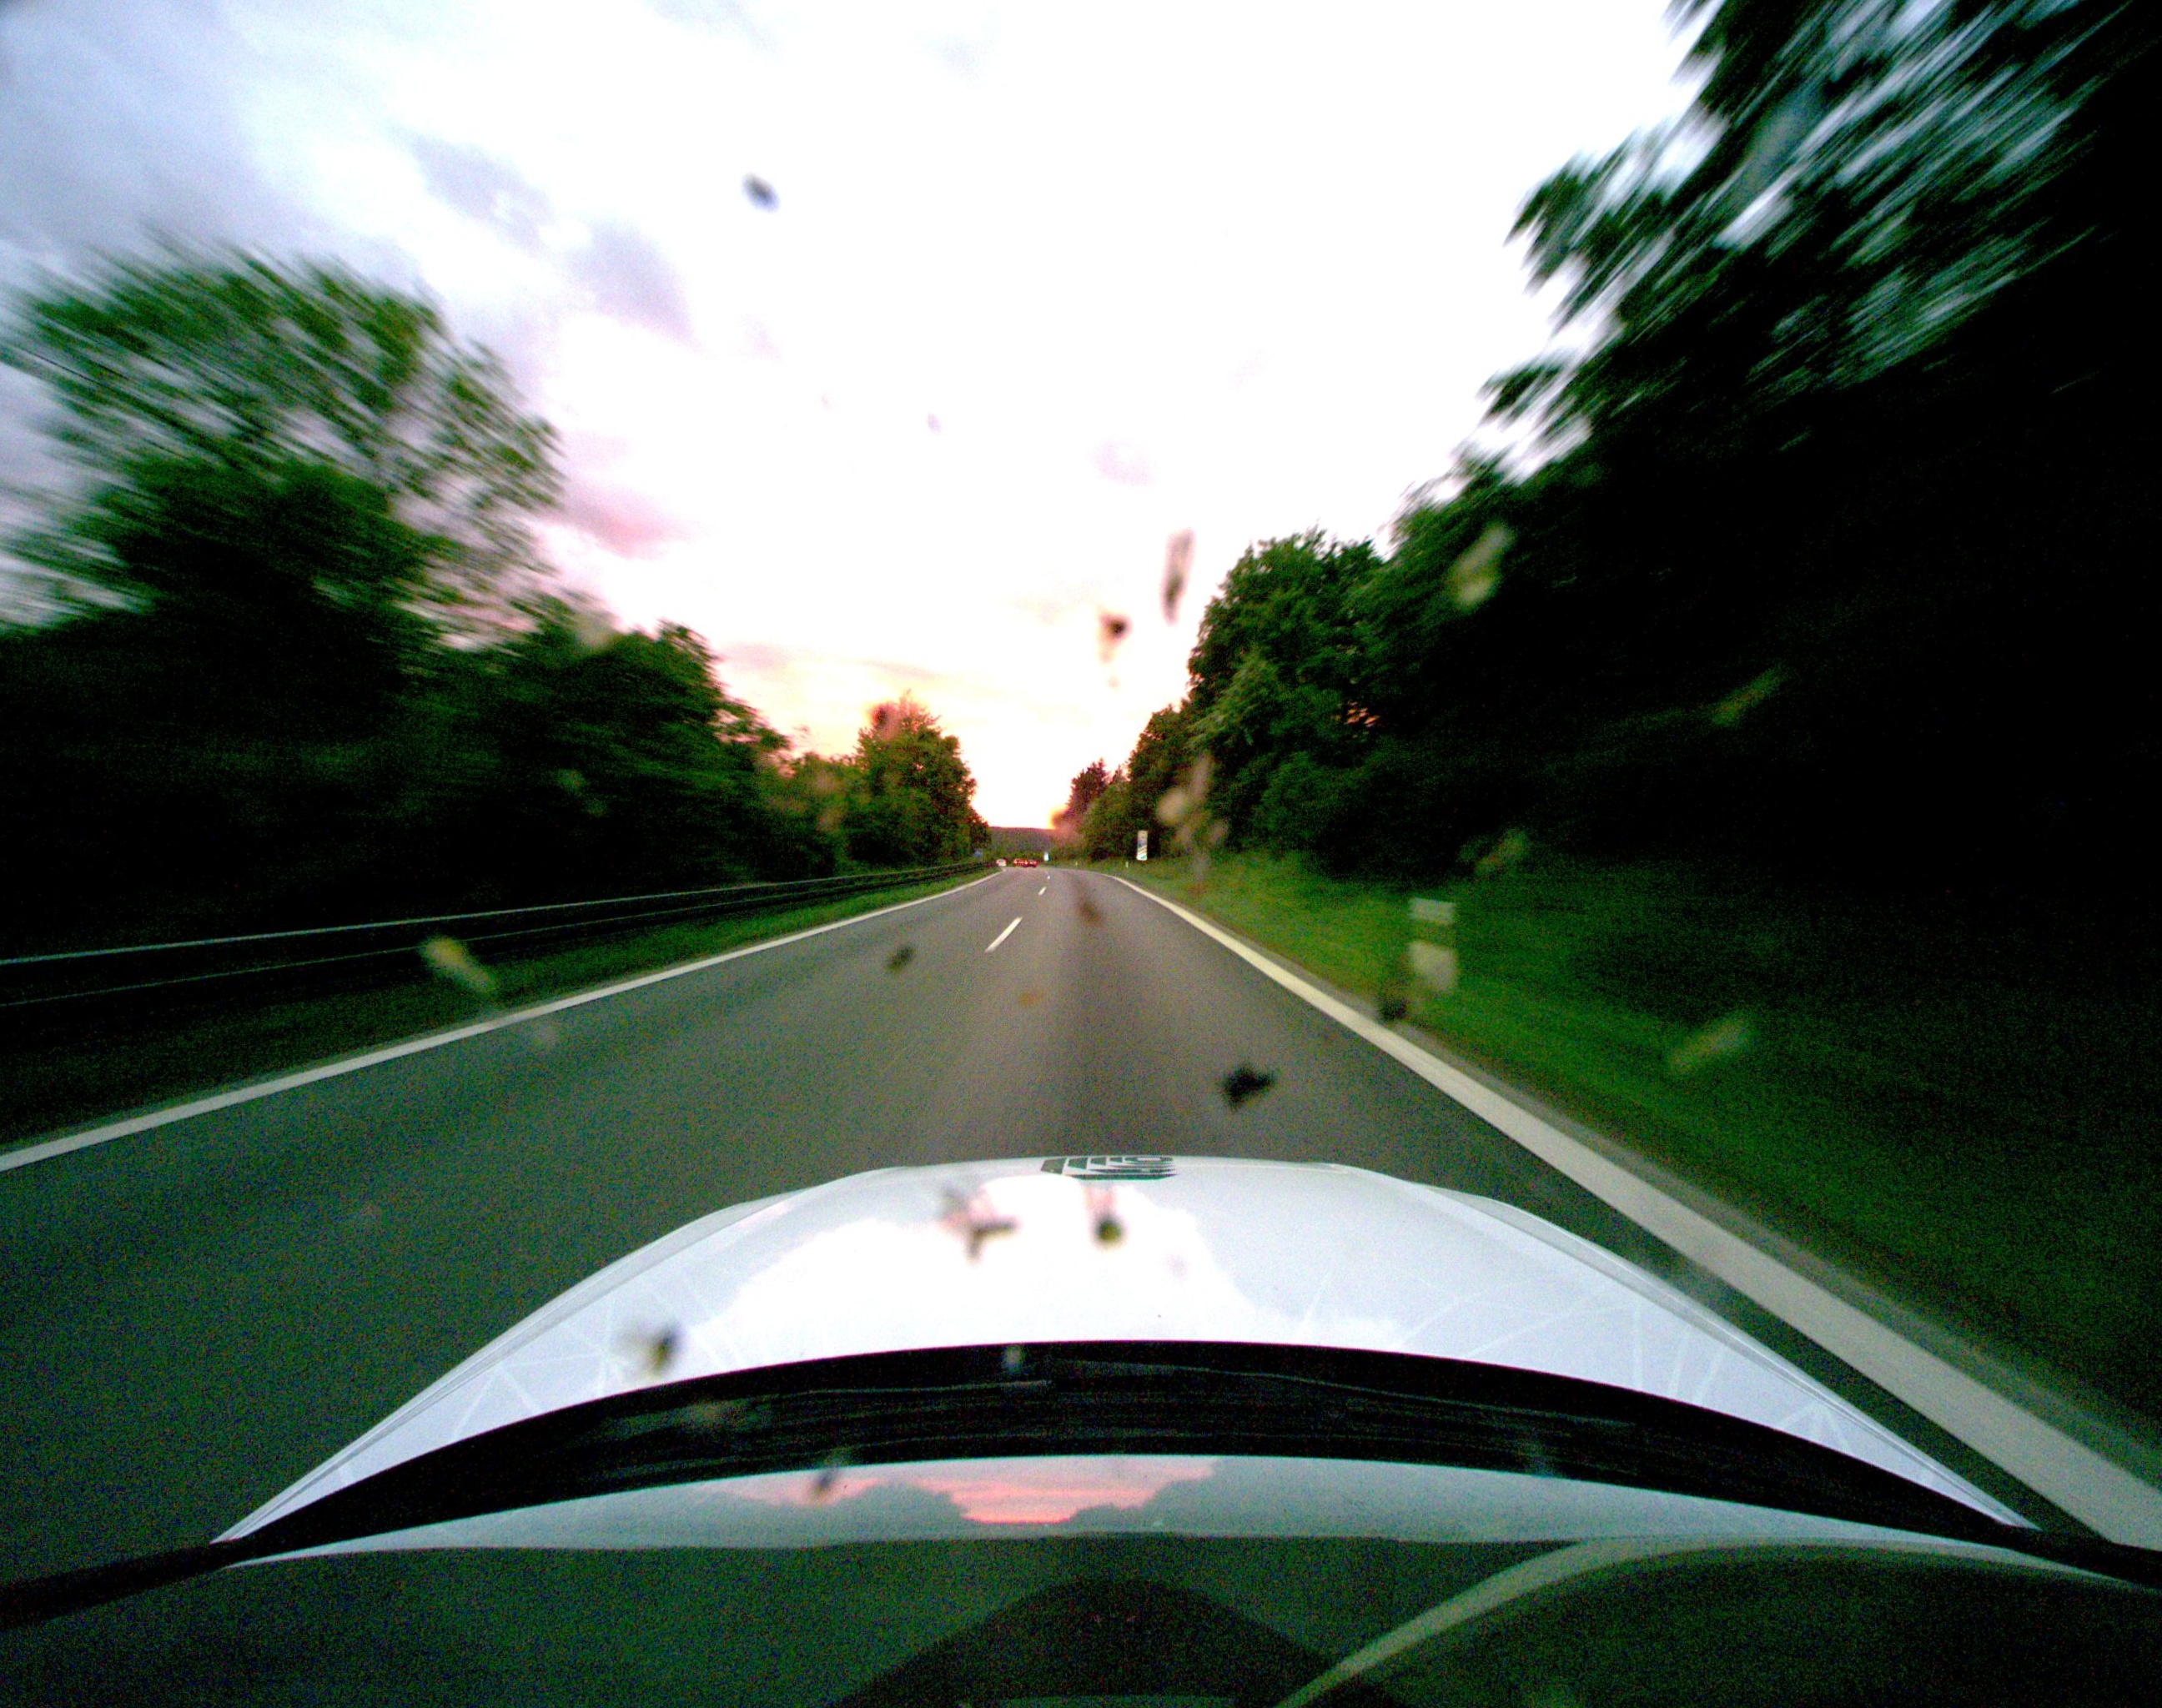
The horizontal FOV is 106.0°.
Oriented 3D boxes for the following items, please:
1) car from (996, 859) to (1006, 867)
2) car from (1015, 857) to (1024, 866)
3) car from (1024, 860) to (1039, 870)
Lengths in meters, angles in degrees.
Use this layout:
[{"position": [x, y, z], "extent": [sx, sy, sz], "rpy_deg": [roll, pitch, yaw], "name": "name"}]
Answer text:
[{"position": [-15.249, 1.701, 154.885], "extent": [1.714, 1.501, 3.996], "rpy_deg": [1, -2, -2], "name": "car"}, {"position": [-12.285, 1.535, 162.222], "extent": [1.714, 1.635, 3.996], "rpy_deg": [-1, -1, -2], "name": "car"}, {"position": [-8.655, 1.946, 141.553], "extent": [1.994, 1.646, 3.984], "rpy_deg": [3, -3, -11], "name": "car"}]
